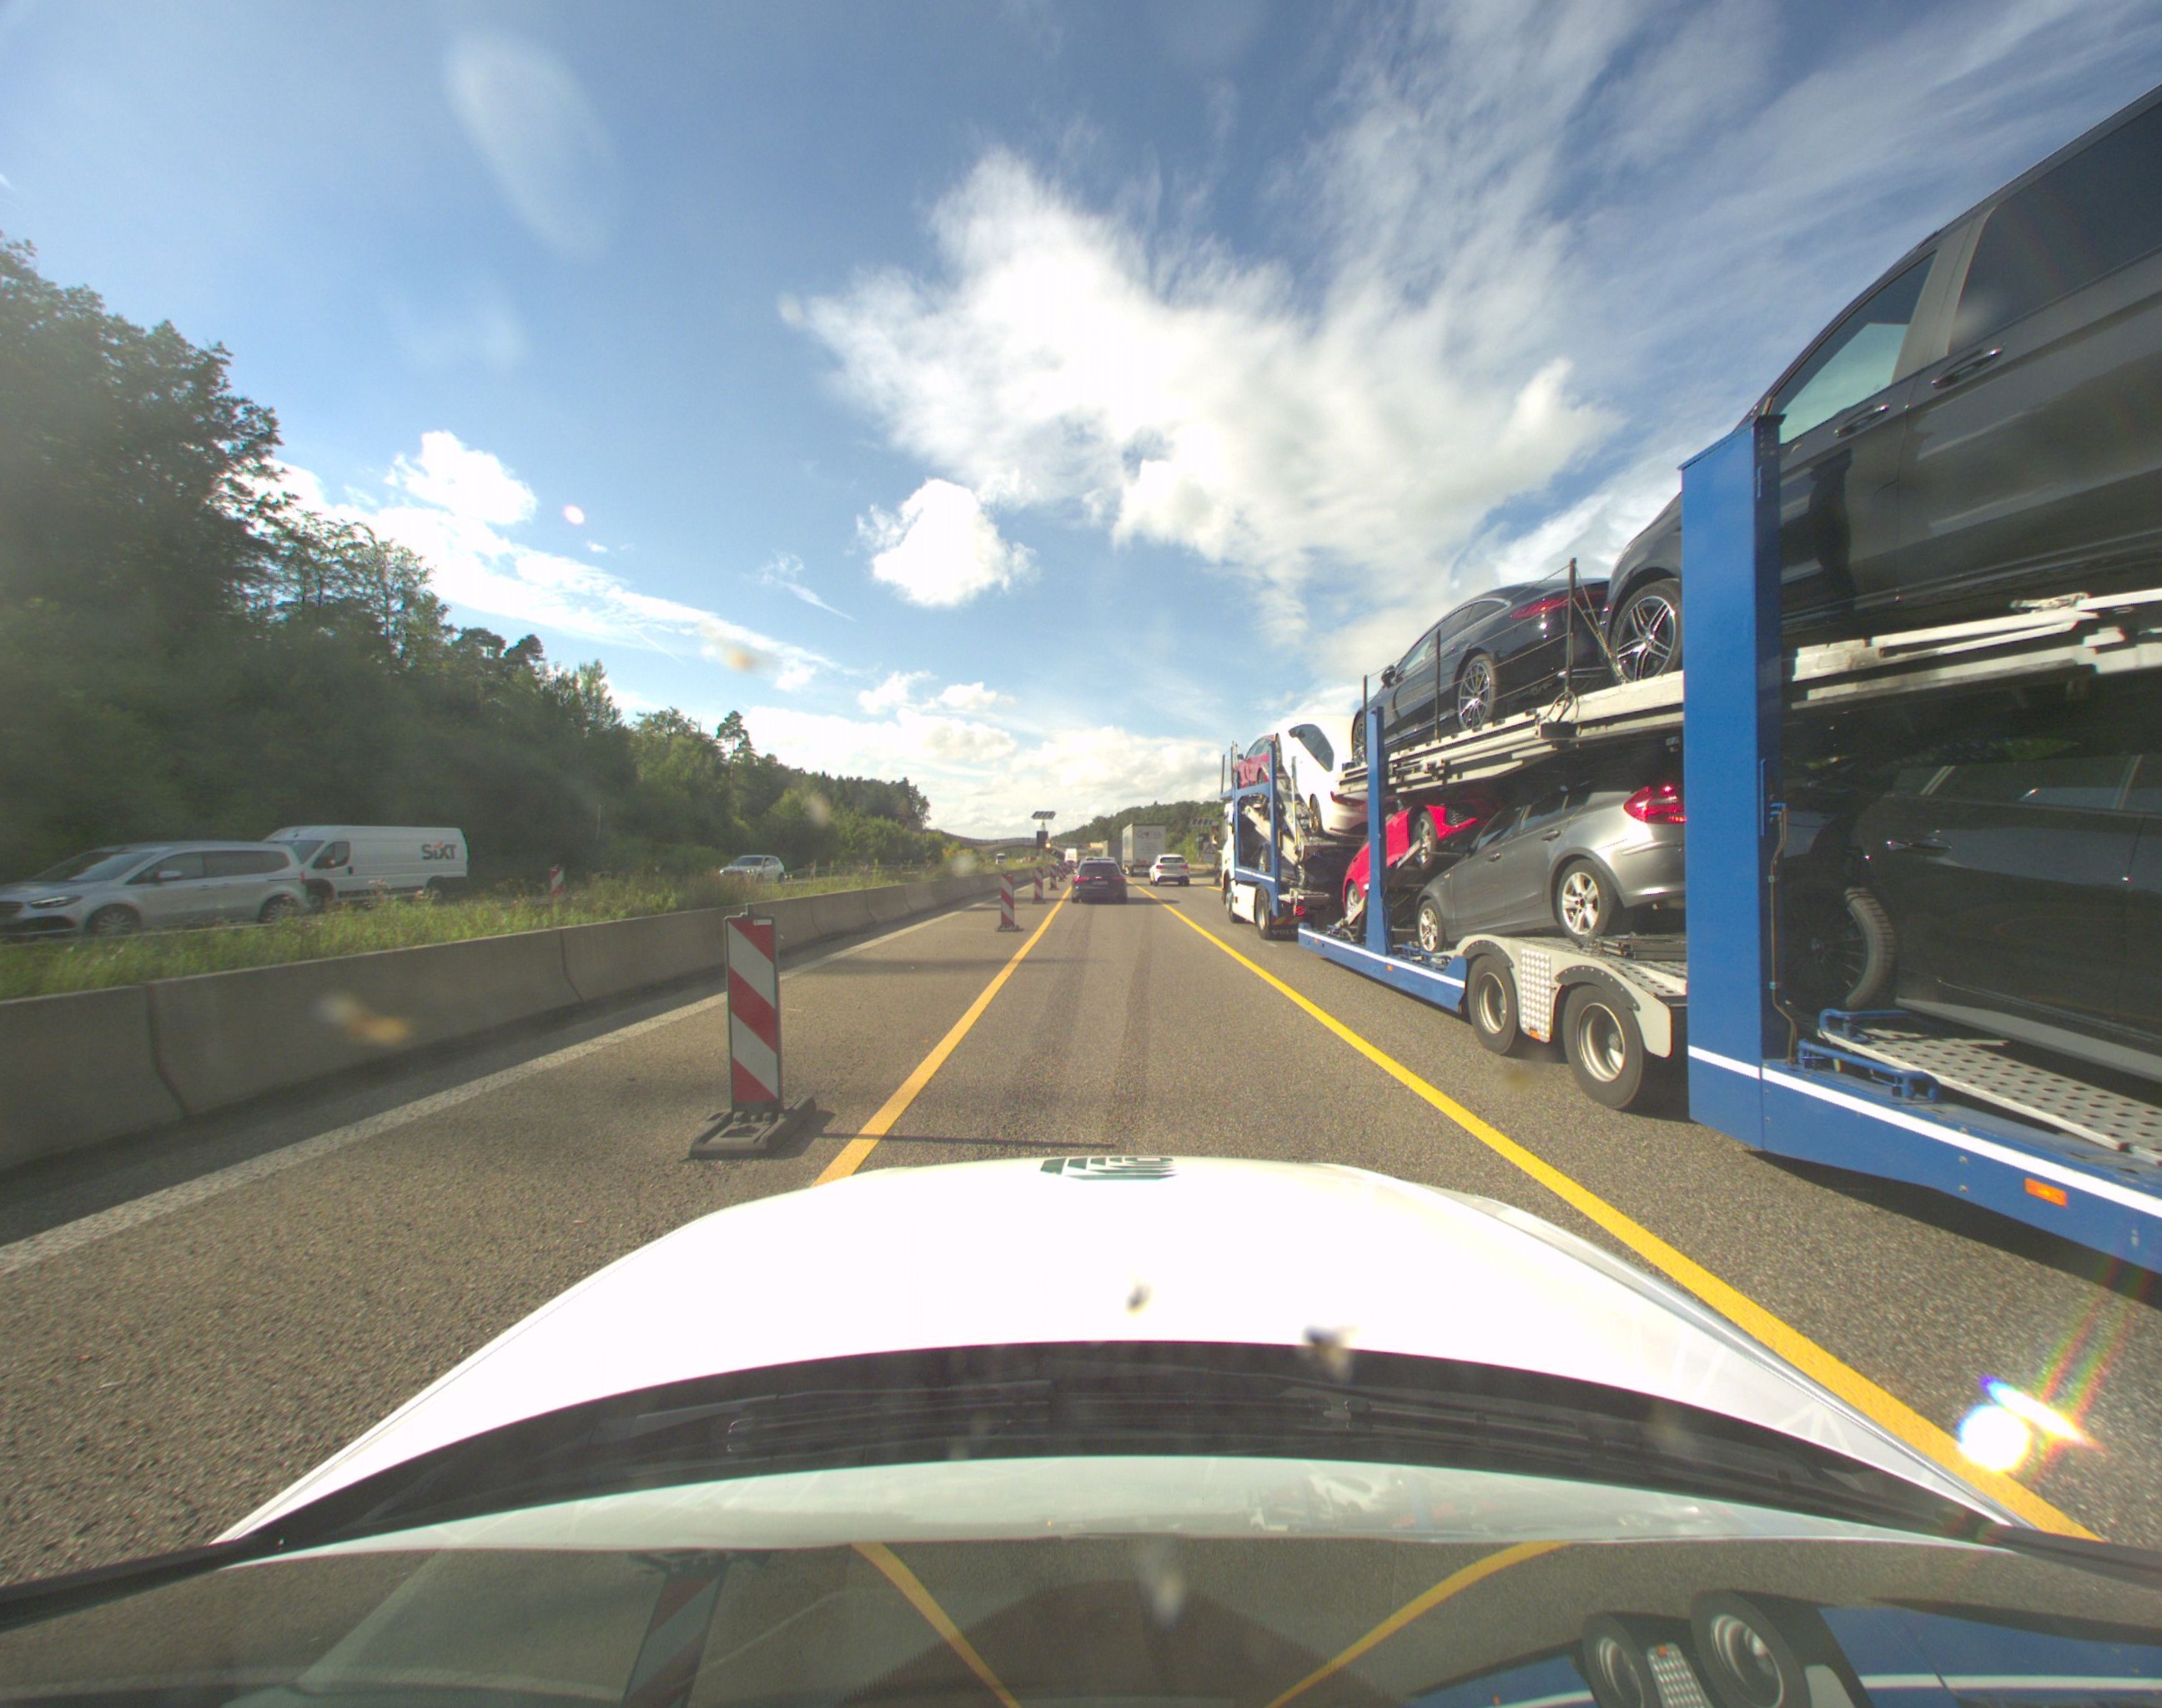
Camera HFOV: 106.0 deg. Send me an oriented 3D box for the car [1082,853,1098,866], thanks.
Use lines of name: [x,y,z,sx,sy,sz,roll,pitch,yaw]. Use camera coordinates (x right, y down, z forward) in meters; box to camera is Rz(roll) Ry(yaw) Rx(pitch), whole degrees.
car: [1.140,0.741,107.415,1.886,1.643,4.014,0,-1,-2]

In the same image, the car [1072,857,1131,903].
car: [0.724,0.858,28.191,1.883,1.446,4.001,0,-1,2]

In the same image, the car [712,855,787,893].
car: [-16.090,0.949,39.788,1.771,1.786,4.366,0,-1,2]

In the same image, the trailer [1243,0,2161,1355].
trailer: [4.948,-0.637,7.808,3.714,4.196,16.226,0,-1,0]

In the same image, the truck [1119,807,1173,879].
truck: [5.254,-0.747,68.786,3.664,5.353,16.205,0,-1,1]

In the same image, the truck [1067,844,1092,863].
truck: [-0.461,0.008,171.351,3.652,3.928,11.034,0,-1,-8]

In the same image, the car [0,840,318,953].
car: [-17.139,0.694,15.097,1.771,1.786,4.366,0,-1,2]

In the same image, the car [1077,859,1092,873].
car: [0.487,1.839,124.225,1.990,2.014,3.994,0,-1,-4]

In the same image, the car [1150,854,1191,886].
car: [4.761,0.837,43.717,1.883,1.643,4.019,0,-1,2]

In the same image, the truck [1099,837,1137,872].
truck: [5.092,0.090,114.207,4.309,4.600,11.113,0,-1,-3]

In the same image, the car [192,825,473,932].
car: [-21.319,0.649,23.822,2.020,2.684,6.525,0,-1,2]

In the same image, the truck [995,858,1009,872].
truck: [-19.807,2.722,204.865,2.774,3.490,4.941,0,-1,2]

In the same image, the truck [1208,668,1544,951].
truck: [4.997,-0.636,16.074,3.749,4.196,7.949,0,-1,0]
